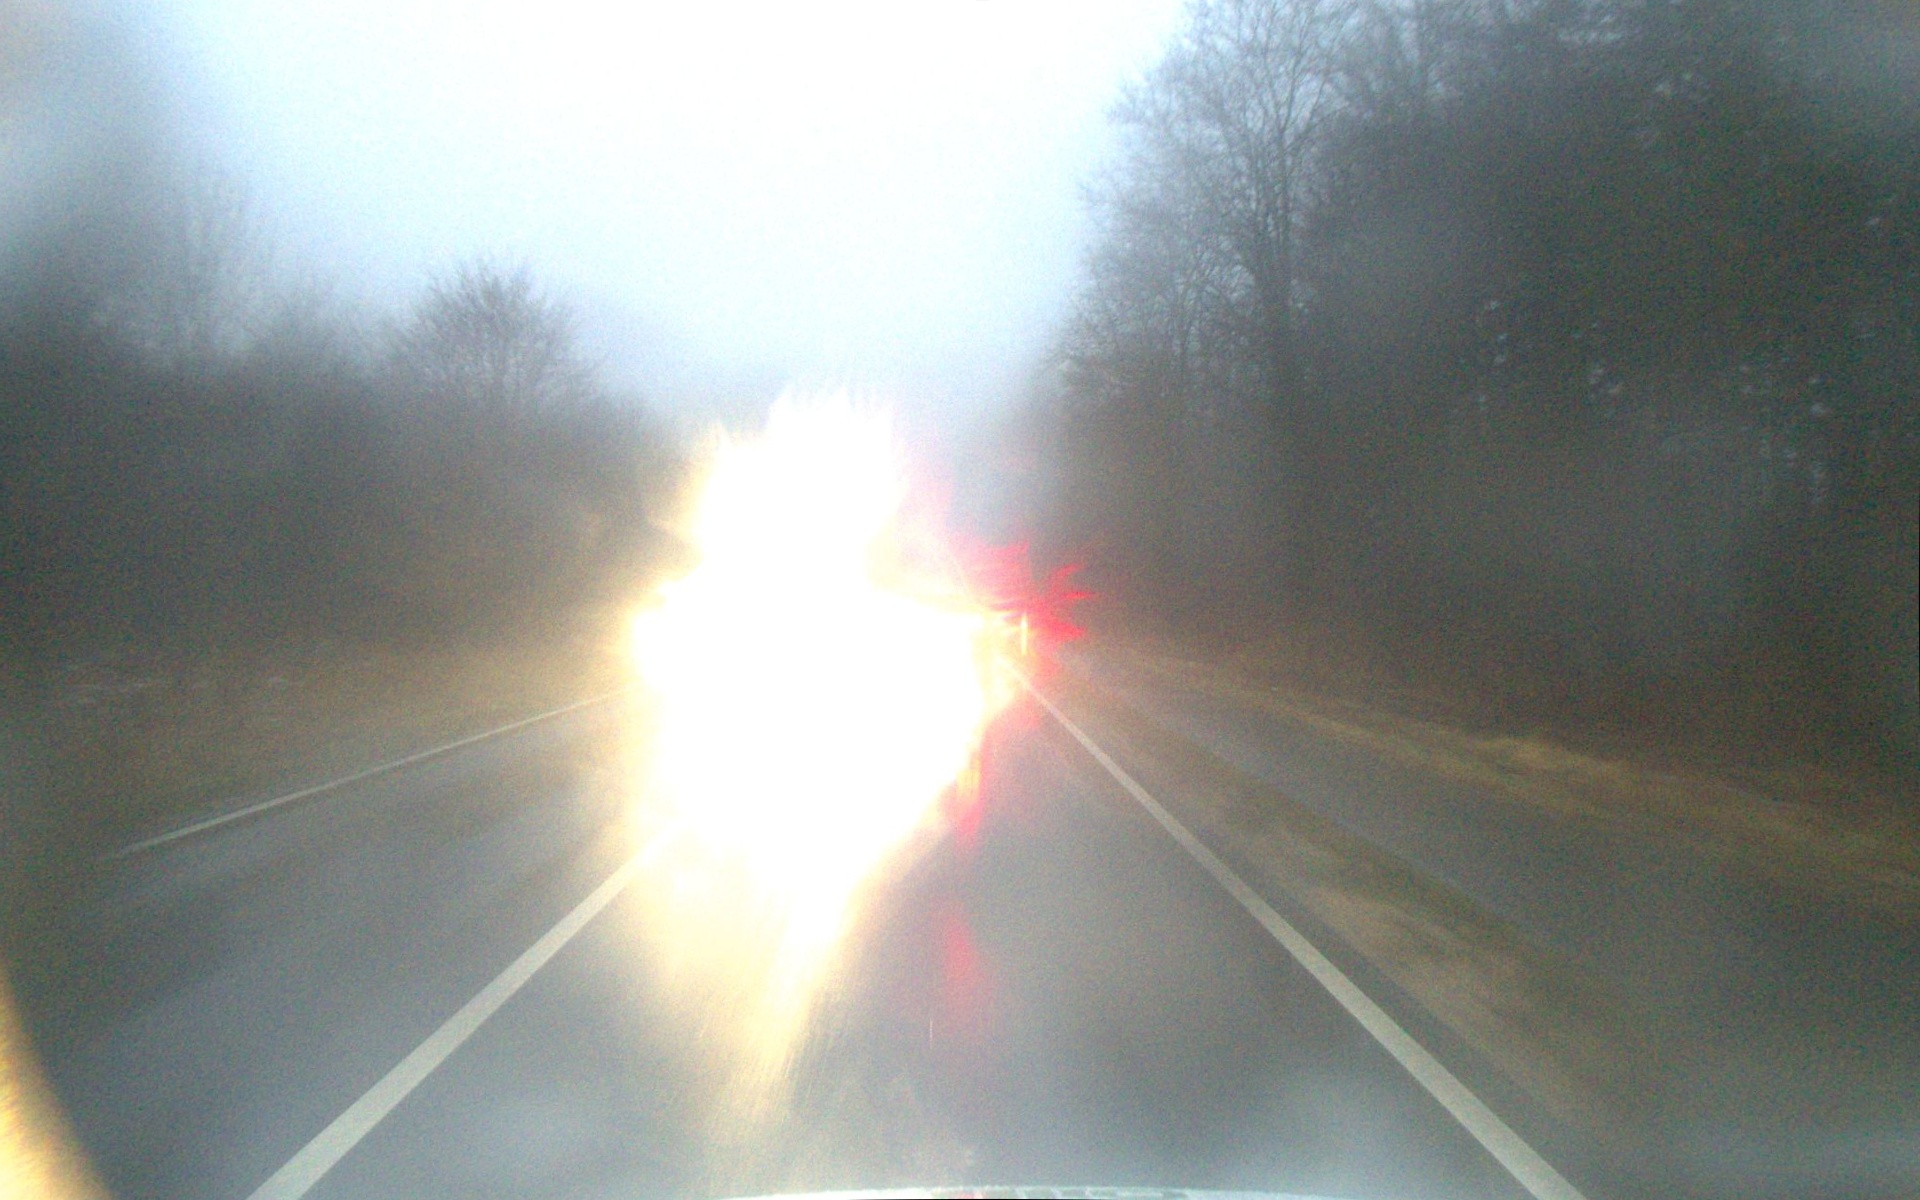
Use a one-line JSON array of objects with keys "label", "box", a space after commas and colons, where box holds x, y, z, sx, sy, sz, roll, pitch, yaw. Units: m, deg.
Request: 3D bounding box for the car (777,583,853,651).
[{"label": "car", "box": [-3.747, 0.403, 43.251, 1.660, 1.587, 4.128, 1, 1, -1]}]

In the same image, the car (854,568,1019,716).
[{"label": "car", "box": [-0.372, 0.560, 24.356, 2.154, 1.910, 4.825, 1, 0, -2]}]
